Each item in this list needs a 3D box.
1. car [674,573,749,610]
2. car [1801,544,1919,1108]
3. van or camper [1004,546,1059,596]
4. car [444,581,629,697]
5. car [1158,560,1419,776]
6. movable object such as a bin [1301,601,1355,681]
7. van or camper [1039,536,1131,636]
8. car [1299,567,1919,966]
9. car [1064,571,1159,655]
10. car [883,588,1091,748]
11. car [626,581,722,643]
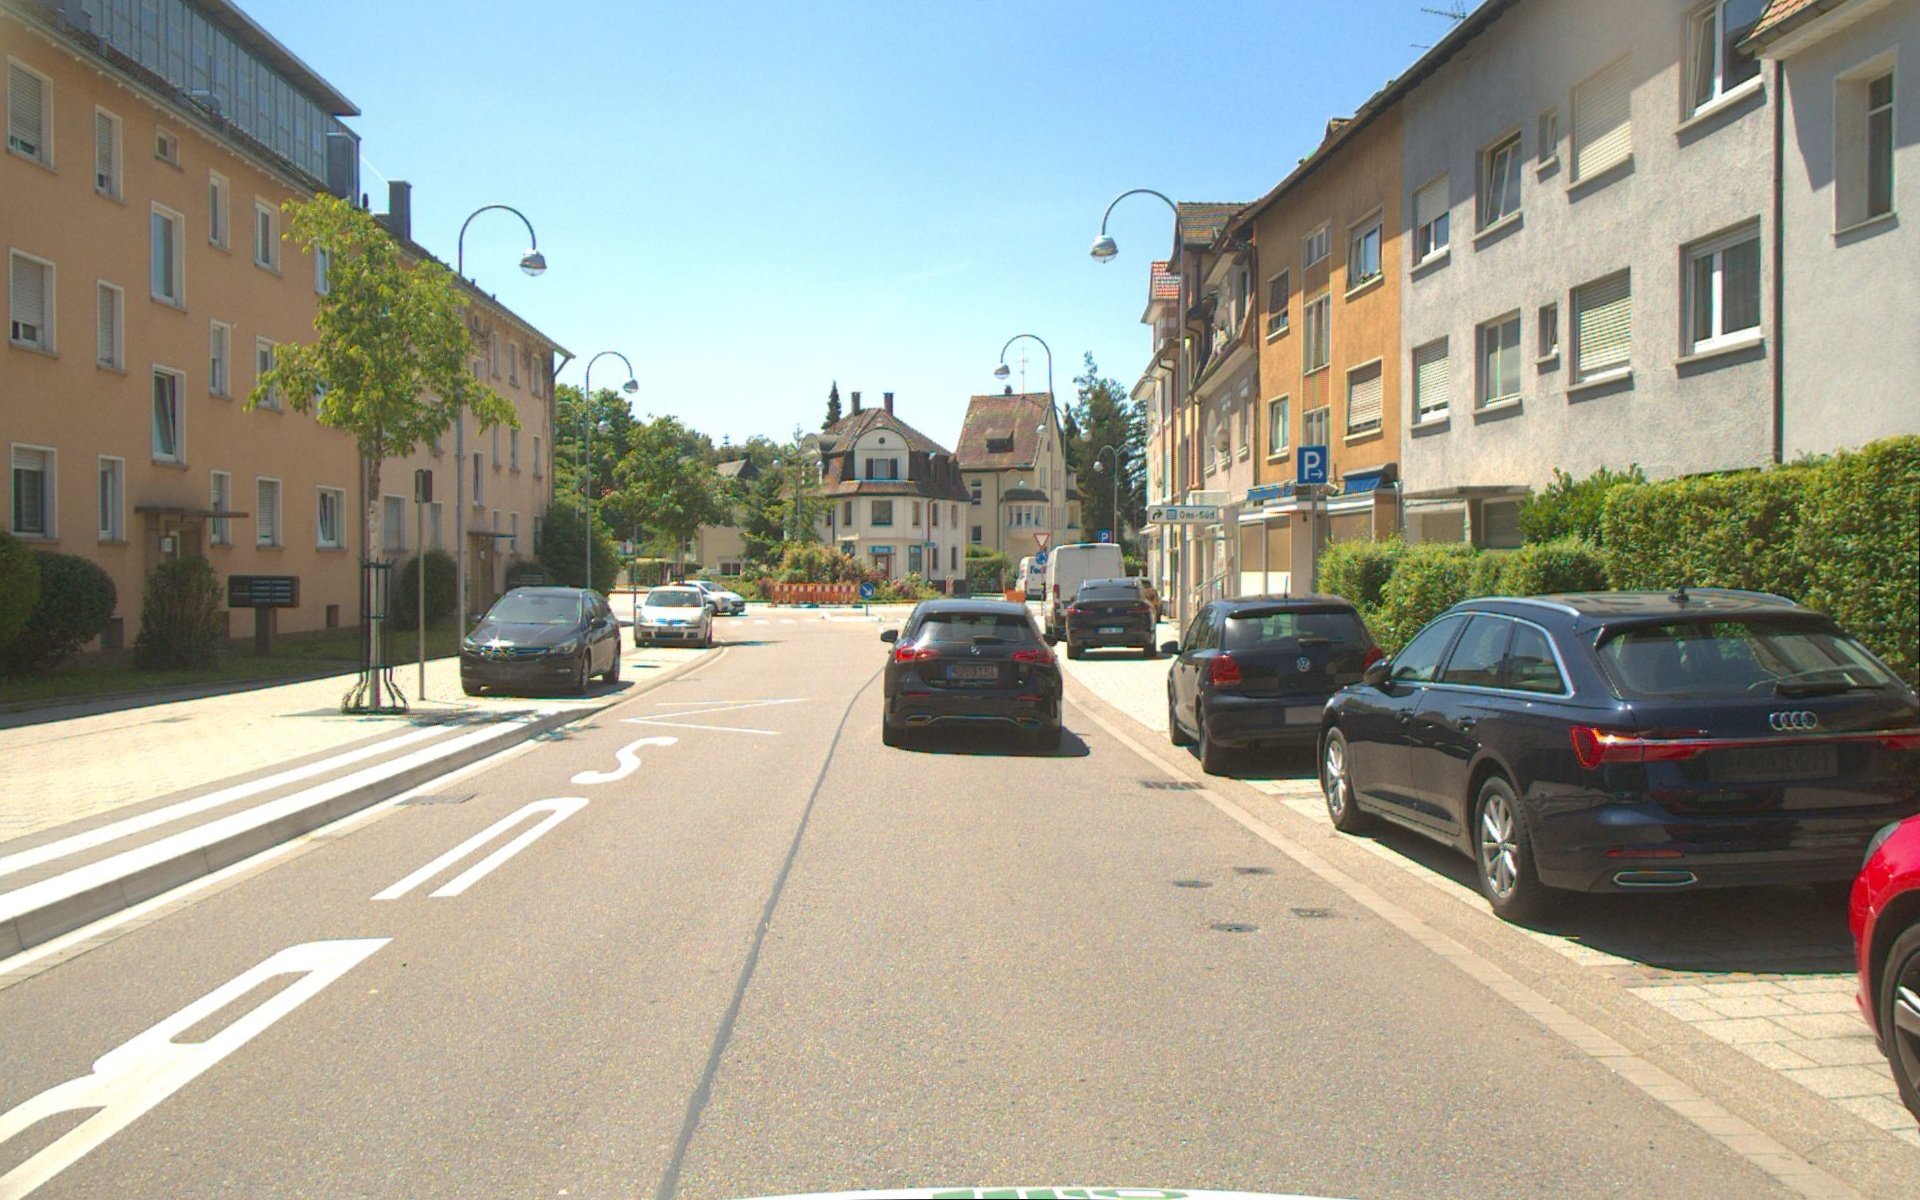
[{"bbox_3d":[-10.842,-0.378,72.024,1.648,1.523,3.709,-1,1,-37],"label":"car"},{"bbox_3d":[3.586,0.638,3.126,1.767,1.556,4.149,-1,1,-2],"label":"car"},{"bbox_3d":[3.989,-1.615,91.755,2.159,2.656,4.003,1,1,16],"label":"van or camper"},{"bbox_3d":[-6.243,0.498,24.866,1.820,1.533,4.560,0,1,-3],"label":"car"},{"bbox_3d":[2.879,0.507,15.288,1.692,1.661,4.002,-2,1,2],"label":"car"},{"bbox_3d":[5.155,0.568,23.210,0.581,1.095,0.647,-1,0,-2],"label":"movable object such as a bin"},{"bbox_3d":[3.463,-0.414,46.860,2.120,2.634,5.766,-1,1,0],"label":"van or camper"},{"bbox_3d":[3.333,0.629,9.004,1.767,1.500,4.718,-3,1,-2],"label":"car"},{"bbox_3d":[3.306,0.233,35.366,1.855,1.635,4.368,-2,0,7],"label":"car"},{"bbox_3d":[0.212,0.641,17.391,1.914,1.452,3.999,1,0,-1],"label":"car"},{"bbox_3d":[-7.097,0.289,41.389,1.954,1.445,4.085,0,0,-4],"label":"car"}]
